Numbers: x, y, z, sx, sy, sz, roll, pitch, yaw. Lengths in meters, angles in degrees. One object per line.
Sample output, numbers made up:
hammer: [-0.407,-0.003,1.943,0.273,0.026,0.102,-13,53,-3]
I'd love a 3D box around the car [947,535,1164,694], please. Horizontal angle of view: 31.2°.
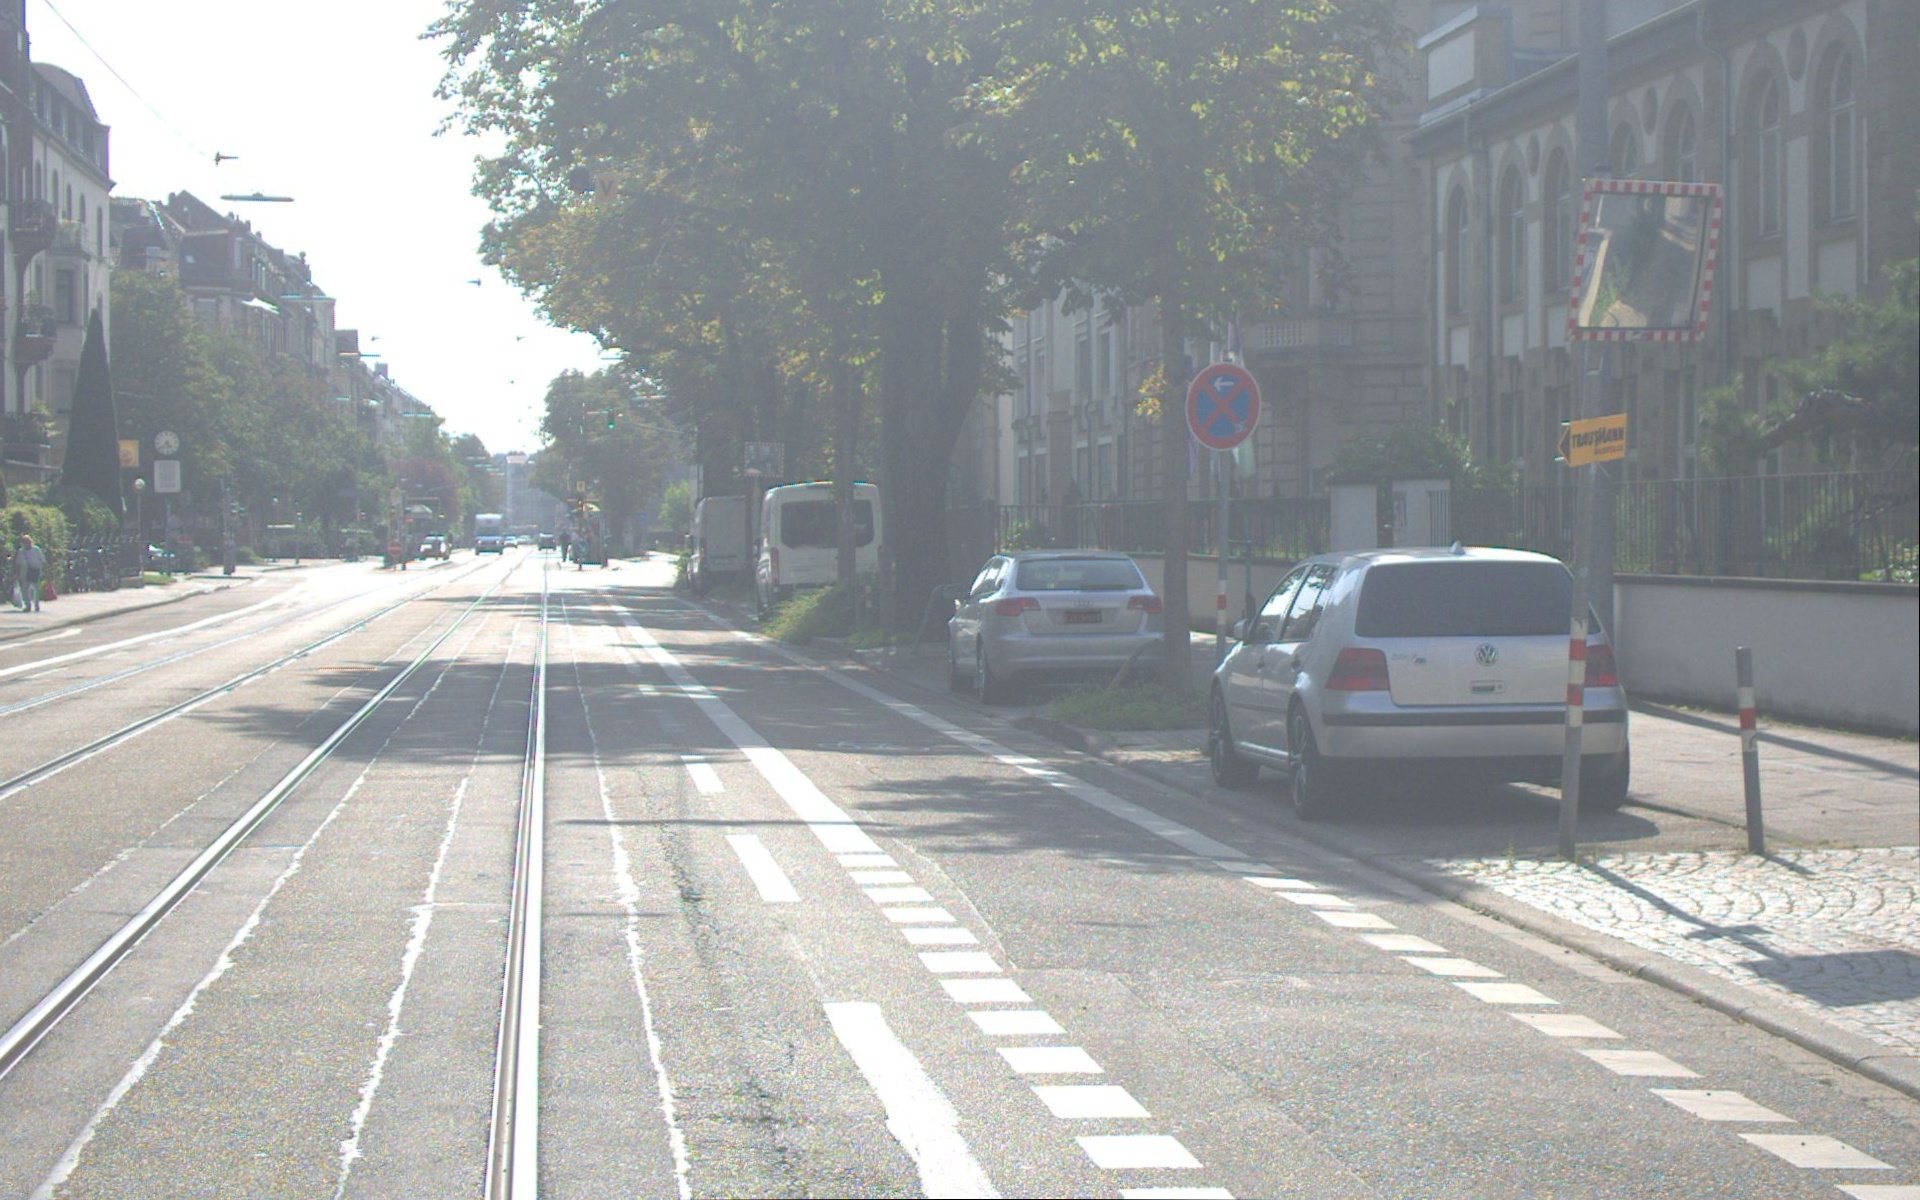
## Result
car: [0.851,0.097,32.668,1.594,1.413,3.635,0,1,-6]

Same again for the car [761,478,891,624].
car: [-2.405,-0.882,60.617,2.004,2.482,4.478,0,1,-6]

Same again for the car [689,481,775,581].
car: [-5.817,-1.758,87.385,2.004,2.466,4.478,0,1,-6]

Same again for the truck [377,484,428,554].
truck: [-23.888,-3.478,147.371,1.993,2.965,4.572,0,1,-7]

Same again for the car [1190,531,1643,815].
car: [2.422,0.331,19.109,1.689,1.413,3.635,0,1,-6]

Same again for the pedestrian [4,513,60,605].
pedestrian: [-17.799,-0.796,65.951,0.961,1.754,0.661,0,1,-7]

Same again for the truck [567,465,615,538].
truck: [-15.919,-4.226,148.207,1.860,3.120,4.354,0,1,-9]
